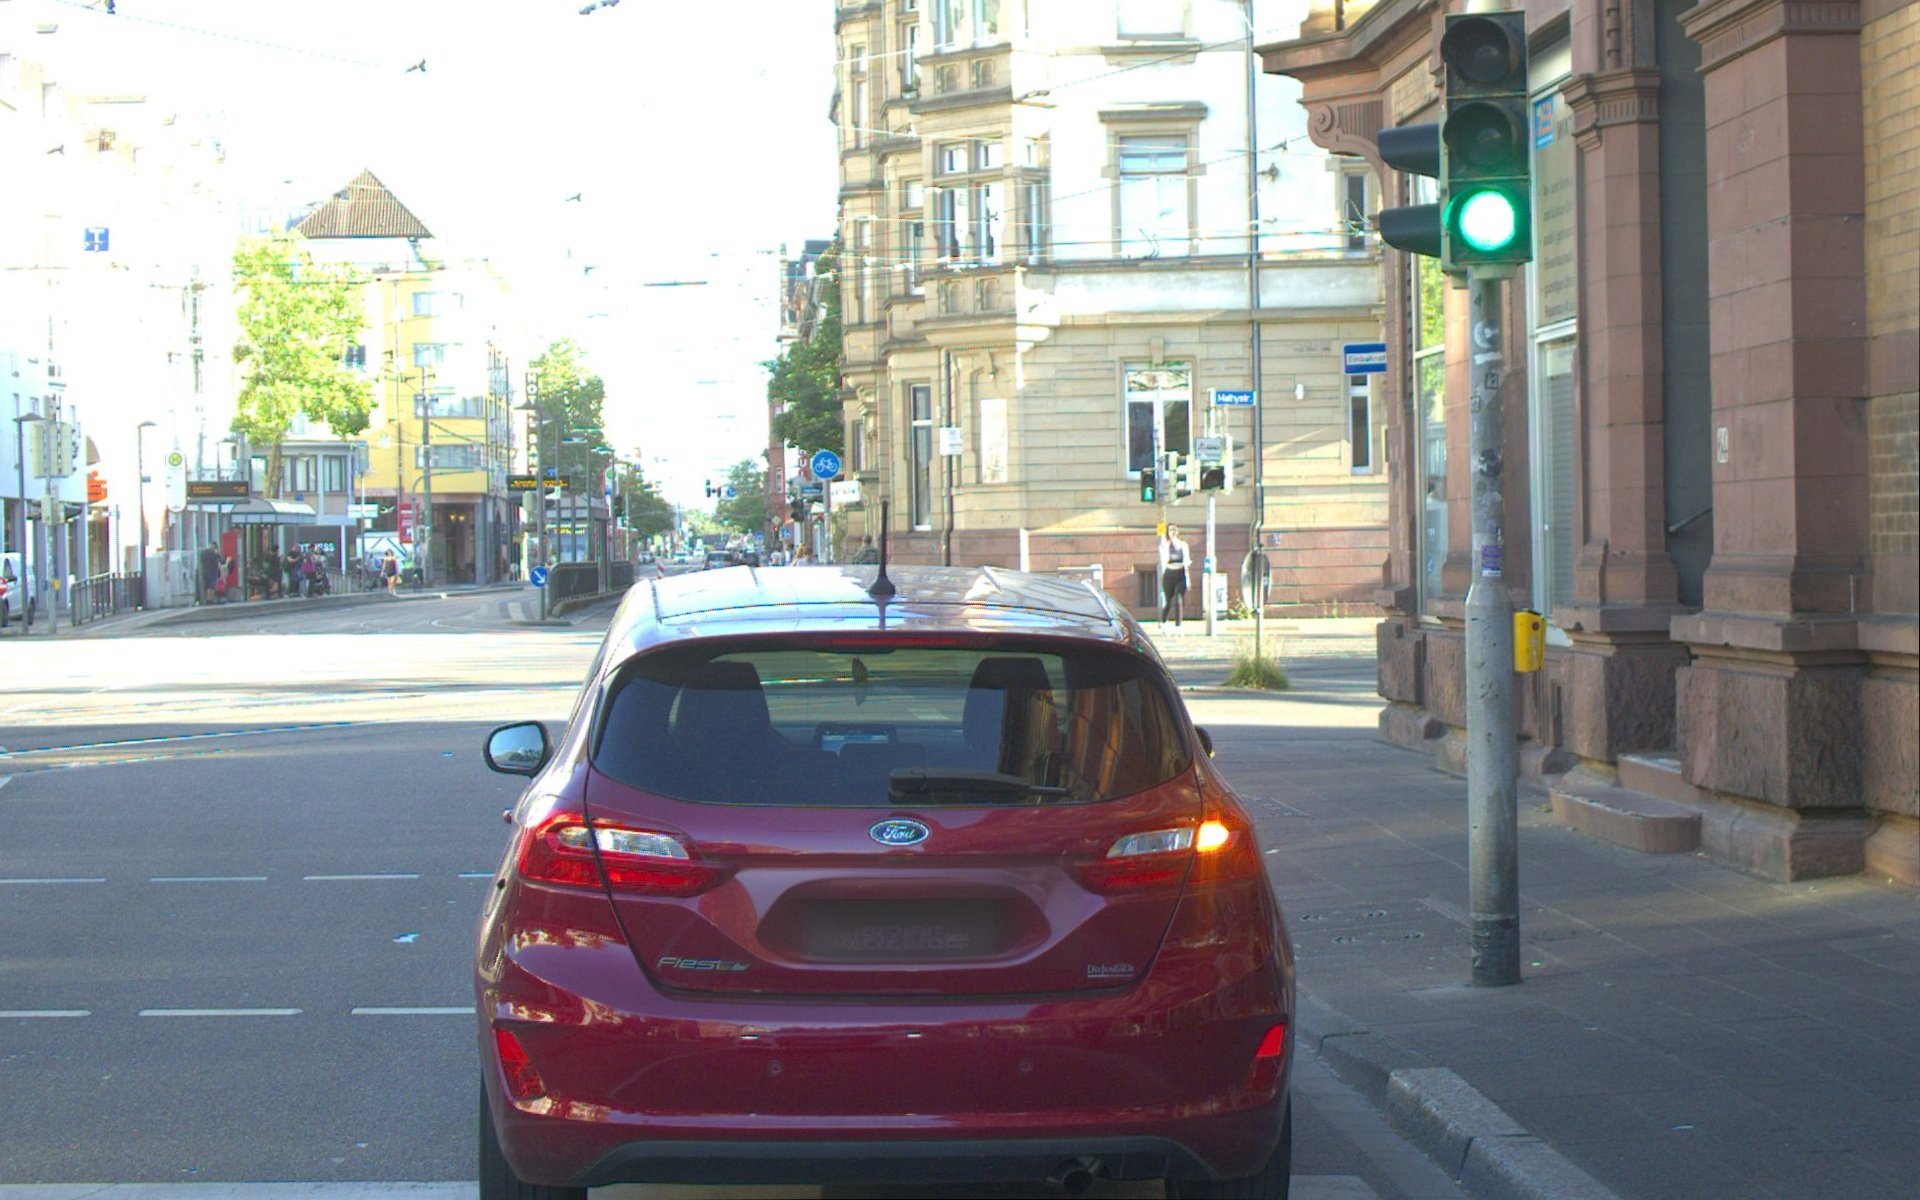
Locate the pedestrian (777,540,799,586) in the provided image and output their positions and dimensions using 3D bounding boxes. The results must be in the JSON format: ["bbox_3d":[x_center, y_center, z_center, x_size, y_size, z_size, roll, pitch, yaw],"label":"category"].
[{"bbox_3d":[-6.863,-1.486,137.233,0.713,1.768,0.773,-4,2,-7],"label":"pedestrian"}]

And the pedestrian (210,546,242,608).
[{"bbox_3d":[-20.349,-0.635,95.361,0.695,1.685,0.672,-1,0,-27],"label":"pedestrian"}]

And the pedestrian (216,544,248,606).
[{"bbox_3d":[-19.886,-0.683,93.897,0.695,1.685,0.672,-1,0,-27],"label":"pedestrian"}]

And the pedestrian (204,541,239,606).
[{"bbox_3d":[-19.680,-0.708,91.585,0.765,1.727,0.519,0,0,38],"label":"pedestrian"}]

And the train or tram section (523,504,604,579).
[{"bbox_3d":[-19.266,-2.829,167.853,2.885,3.478,14.169,0,1,-2],"label":"train or tram section"}]

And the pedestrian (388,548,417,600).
[{"bbox_3d":[-20.539,-0.975,126.647,0.878,1.898,0.935,-1,0,-19],"label":"pedestrian"}]

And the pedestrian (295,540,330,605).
[{"bbox_3d":[-19.135,-0.809,101.567,0.931,1.898,0.881,-1,0,-6],"label":"pedestrian"}]

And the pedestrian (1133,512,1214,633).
[{"bbox_3d":[3.256,-0.427,52.541,1.023,1.800,1.083,-1,1,-7],"label":"pedestrian"}]

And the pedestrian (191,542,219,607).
[{"bbox_3d":[-19.653,-0.659,89.551,0.598,1.686,0.613,-1,0,-3],"label":"pedestrian"}]

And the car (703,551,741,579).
[{"bbox_3d":[-12.703,-1.897,183.466,1.993,1.444,4.001,0,1,-4],"label":"car"}]

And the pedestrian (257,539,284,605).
[{"bbox_3d":[-20.074,-0.811,100.050,0.695,1.898,0.672,-1,0,-6],"label":"pedestrian"}]

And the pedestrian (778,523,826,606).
[{"bbox_3d":[-3.319,-0.751,72.275,0.718,1.715,0.796,-3,0,17],"label":"pedestrian"}]

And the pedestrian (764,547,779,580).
[{"bbox_3d":[-9.549,-1.861,174.231,0.751,1.656,0.650,1,0,-1],"label":"pedestrian"}]

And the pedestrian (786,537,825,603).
[{"bbox_3d":[-3.215,-0.614,71.340,0.717,1.327,0.797,-2,0,-5],"label":"pedestrian"}]

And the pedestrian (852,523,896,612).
[{"bbox_3d":[-1.814,-0.695,72.353,0.800,1.817,0.798,-3,2,-4],"label":"pedestrian"}]

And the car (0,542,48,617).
[{"bbox_3d":[-24.598,-0.521,86.856,1.993,1.831,5.347,-1,1,-4],"label":"car"}]

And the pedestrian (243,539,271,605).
[{"bbox_3d":[-20.281,-0.809,99.219,0.695,1.898,0.672,-1,0,-6],"label":"pedestrian"}]

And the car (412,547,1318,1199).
[{"bbox_3d":[-0.281,0.635,8.269,1.692,1.490,3.580,1,1,-3],"label":"car"}]
